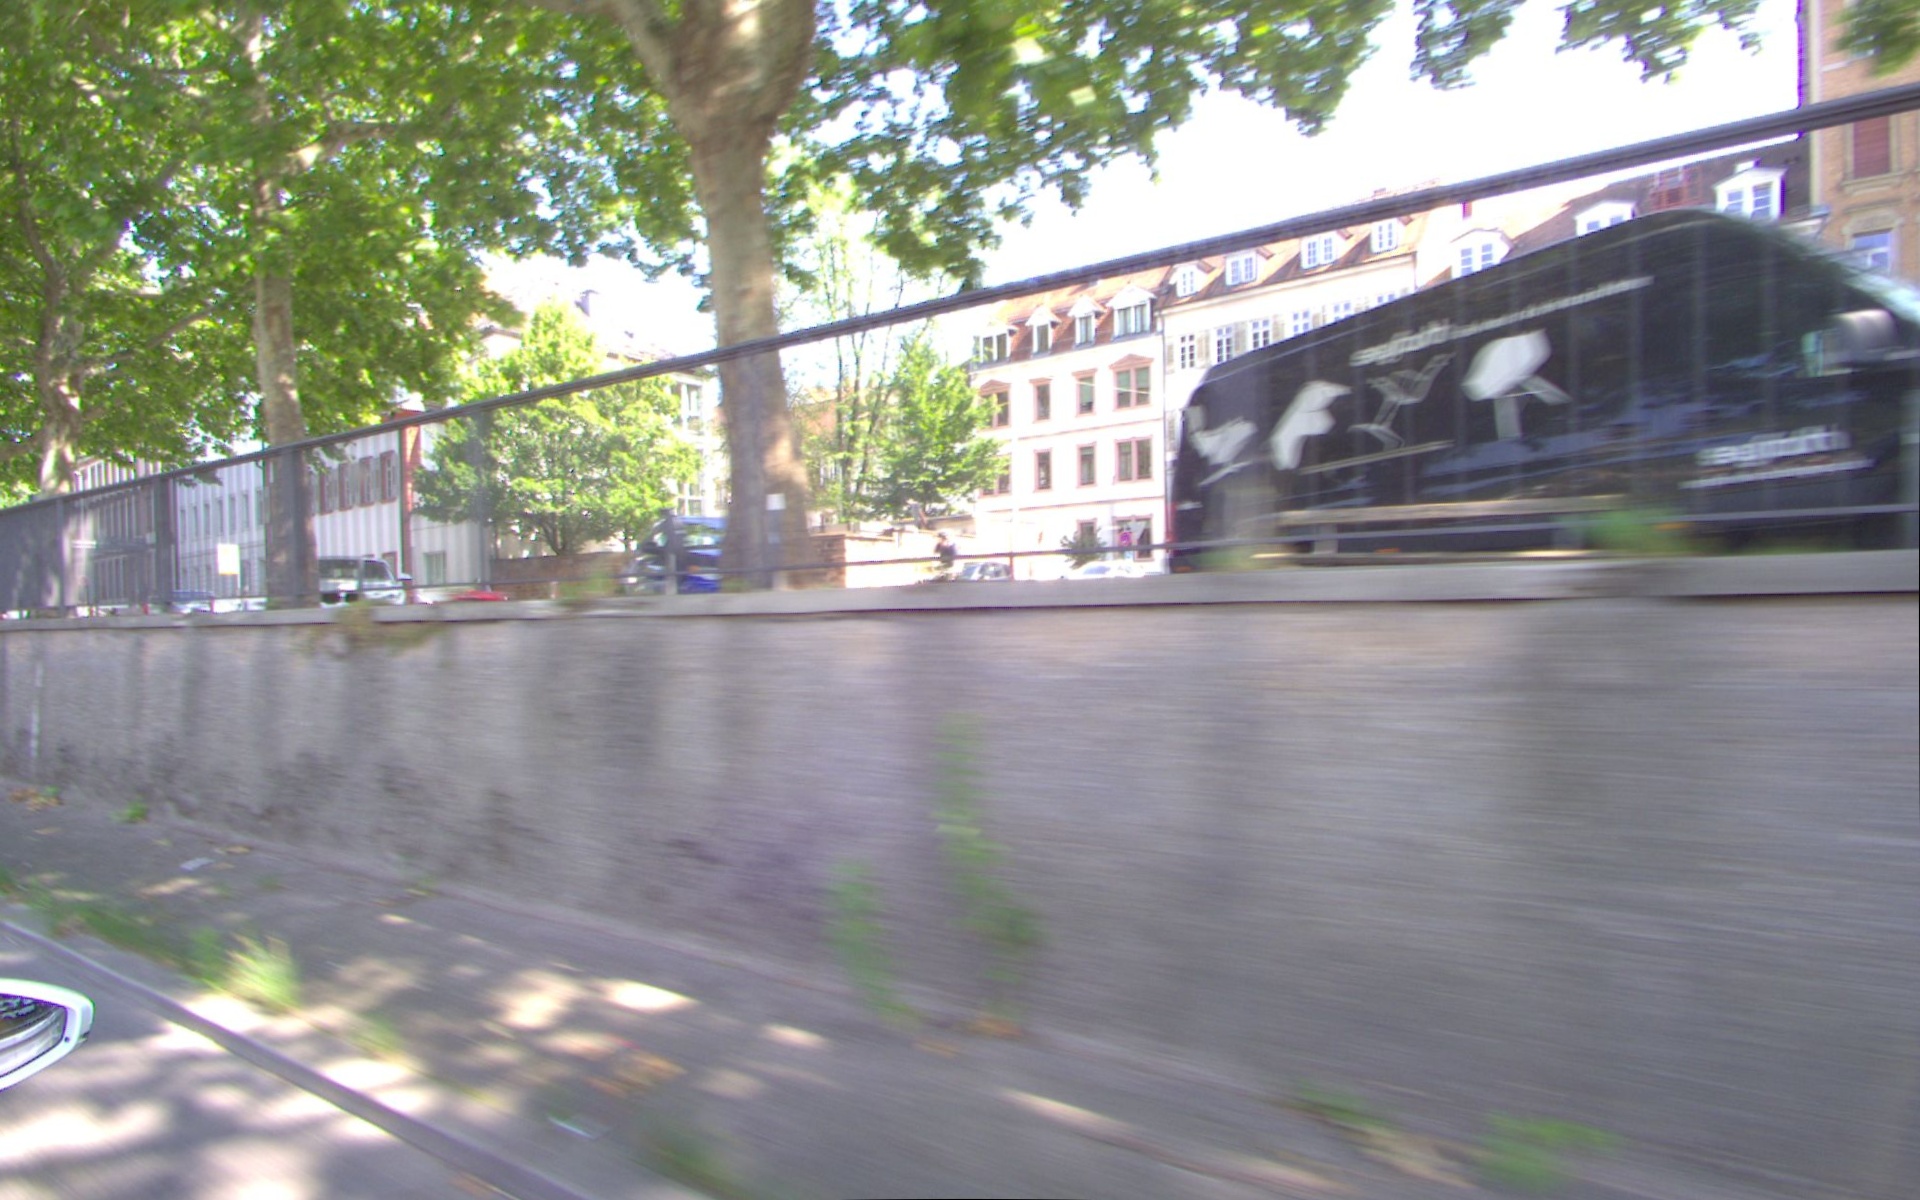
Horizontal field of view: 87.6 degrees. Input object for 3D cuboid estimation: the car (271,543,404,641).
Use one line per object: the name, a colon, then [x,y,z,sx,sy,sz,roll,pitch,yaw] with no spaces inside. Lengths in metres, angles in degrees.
car: [-10.695,-0.076,17.432,1.754,1.488,3.981,0,-1,-29]

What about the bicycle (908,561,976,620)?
bicycle: [-0.352,-0.152,18.583,0.414,0.988,1.533,1,-3,-39]

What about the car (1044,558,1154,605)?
car: [4.714,-0.639,33.461,1.762,1.395,4.593,-1,2,34]

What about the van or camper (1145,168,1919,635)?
van or camper: [4.675,-0.919,7.877,2.310,2.210,7.328,2,-4,-28]

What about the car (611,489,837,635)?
car: [-3.072,-0.352,12.466,1.631,1.520,3.796,0,-1,-32]

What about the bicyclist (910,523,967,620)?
bicyclist: [-0.405,-0.509,18.596,0.696,1.704,0.838,1,-3,-40]
